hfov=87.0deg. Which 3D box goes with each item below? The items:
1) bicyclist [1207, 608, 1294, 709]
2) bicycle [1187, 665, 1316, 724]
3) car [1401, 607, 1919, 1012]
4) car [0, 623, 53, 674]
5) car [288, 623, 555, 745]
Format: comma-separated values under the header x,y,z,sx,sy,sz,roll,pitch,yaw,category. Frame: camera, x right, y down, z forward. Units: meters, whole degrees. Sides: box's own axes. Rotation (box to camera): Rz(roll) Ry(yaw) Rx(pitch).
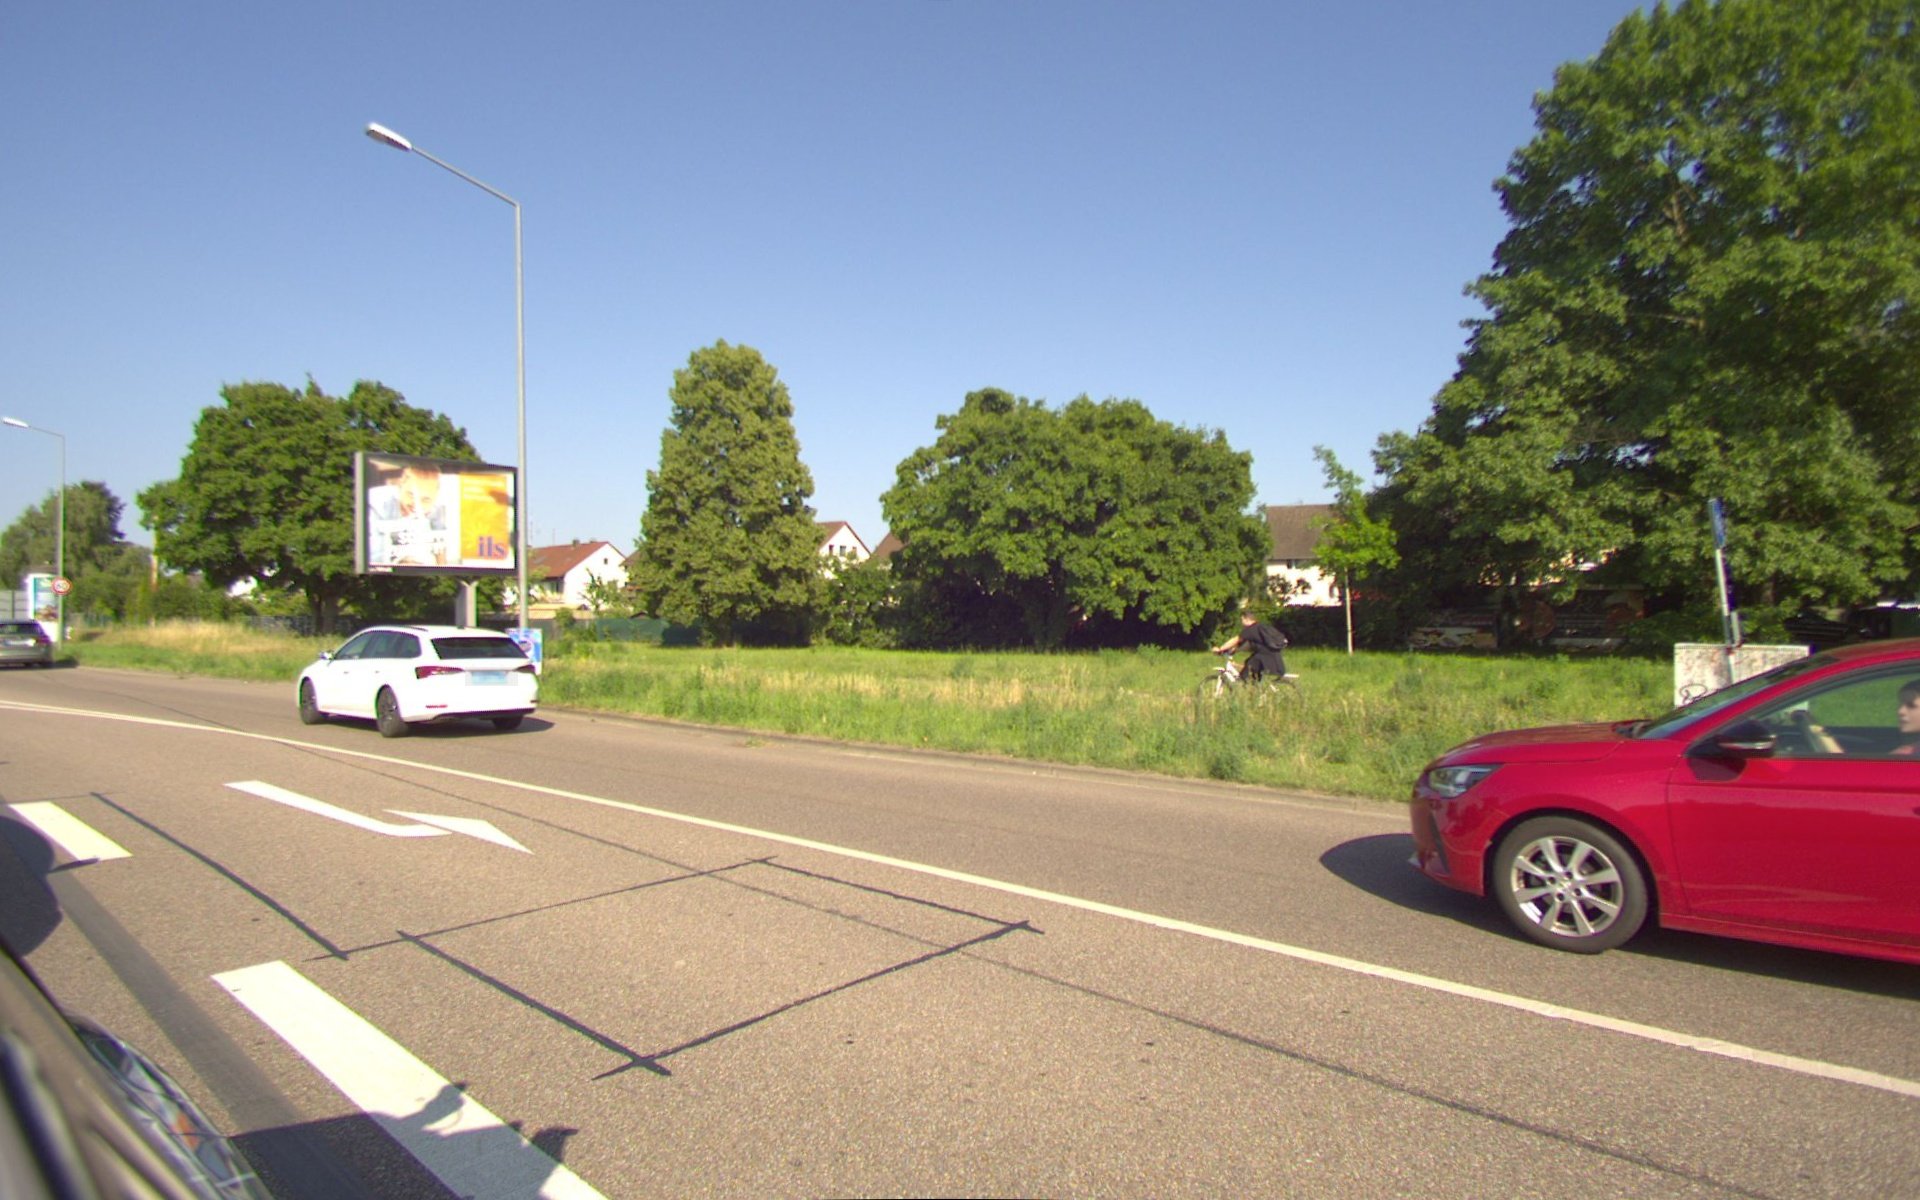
x,y,z,sx,sy,sz,roll,pitch,yaw,category
4.338,0.853,15.125,1.071,1.439,0.630,-2,-2,42,bicyclist
4.319,1.388,15.102,1.834,0.759,0.449,-1,-1,42,bicycle
4.203,0.784,4.320,3.912,1.489,1.761,-2,-2,41,car
-29.848,1.485,31.369,4.278,1.489,1.763,-1,-1,37,car
-7.700,1.085,14.316,4.267,1.489,1.762,-1,-3,38,car
